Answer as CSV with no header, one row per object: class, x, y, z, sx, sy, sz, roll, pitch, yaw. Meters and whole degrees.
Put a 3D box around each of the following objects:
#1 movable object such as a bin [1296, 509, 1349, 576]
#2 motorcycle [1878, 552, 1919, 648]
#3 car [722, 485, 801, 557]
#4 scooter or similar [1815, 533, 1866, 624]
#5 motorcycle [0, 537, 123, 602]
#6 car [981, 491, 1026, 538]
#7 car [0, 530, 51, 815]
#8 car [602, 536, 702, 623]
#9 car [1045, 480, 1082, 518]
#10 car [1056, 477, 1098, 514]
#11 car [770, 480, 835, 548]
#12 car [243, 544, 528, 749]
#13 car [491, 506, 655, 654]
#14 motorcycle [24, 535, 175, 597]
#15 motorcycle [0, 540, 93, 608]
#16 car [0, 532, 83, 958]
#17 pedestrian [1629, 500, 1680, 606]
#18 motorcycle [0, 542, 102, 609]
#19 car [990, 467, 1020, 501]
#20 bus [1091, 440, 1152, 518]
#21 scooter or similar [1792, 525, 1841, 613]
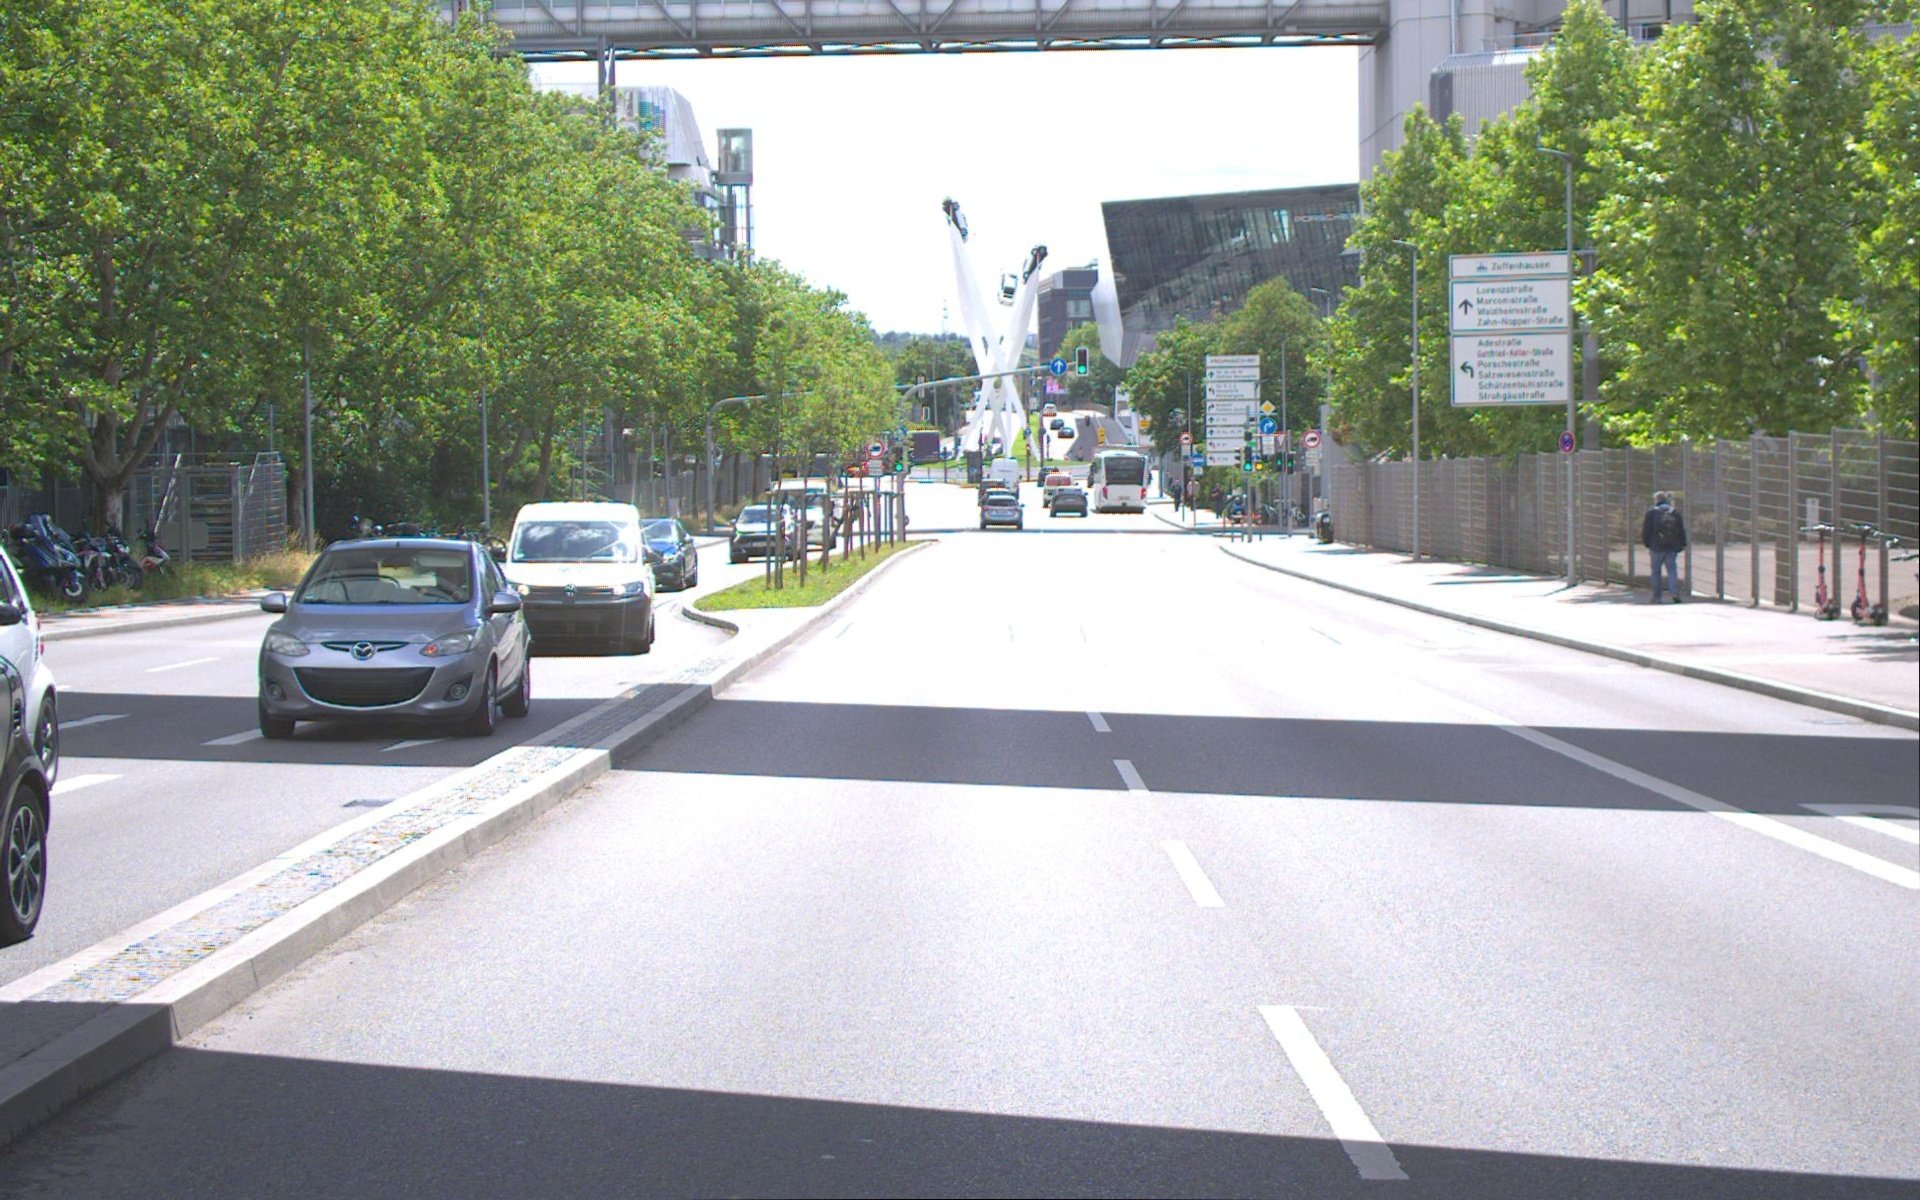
movable object such as a bin,11.530,-1.834,109.382,1.665,2.125,1.278,0,1,6
motorcycle,11.046,0.004,38.888,0.563,1.025,2.629,-2,2,-1
car,-5.631,-2.255,97.968,1.993,2.007,4.000,-1,1,0
scooter or similar,11.526,-0.291,45.041,0.368,1.173,1.133,0,1,-1
motorcycle,-15.792,-0.528,59.237,2.578,1.103,0.794,0,1,12
car,1.878,-3.708,148.419,1.929,1.765,4.001,-1,5,1
car,-6.007,0.406,17.885,1.700,1.545,3.925,0,1,-3
car,-6.178,-0.435,69.340,1.700,1.692,3.924,0,1,0
car,6.116,-5.965,203.040,1.993,2.006,4.002,-1,5,-1
car,6.082,-5.446,179.181,1.993,1.853,4.000,-1,1,-1
car,-5.268,-2.862,115.137,1.993,2.248,4.326,0,1,0
car,-4.287,0.294,26.163,1.700,1.431,3.925,0,1,-3
car,-4.592,-0.266,41.239,1.700,1.692,3.925,0,1,-3
motorcycle,-15.600,-0.615,62.348,2.578,1.103,0.794,0,1,12
motorcycle,-15.534,-0.430,56.125,2.578,1.103,0.794,0,1,12
car,-4.261,0.523,11.850,1.700,1.516,3.074,0,1,0
pedestrian,11.007,-0.750,54.507,0.620,1.612,0.747,-1,5,-1
motorcycle,-15.724,-0.406,57.492,2.578,1.103,0.794,0,1,12
car,2.947,-7.580,224.889,1.873,2.006,3.694,-1,5,-1
bus,8.959,-6.795,191.779,2.796,3.739,9.472,-1,5,-1
scooter or similar,11.542,-0.424,46.331,0.368,1.173,1.133,0,1,-1
